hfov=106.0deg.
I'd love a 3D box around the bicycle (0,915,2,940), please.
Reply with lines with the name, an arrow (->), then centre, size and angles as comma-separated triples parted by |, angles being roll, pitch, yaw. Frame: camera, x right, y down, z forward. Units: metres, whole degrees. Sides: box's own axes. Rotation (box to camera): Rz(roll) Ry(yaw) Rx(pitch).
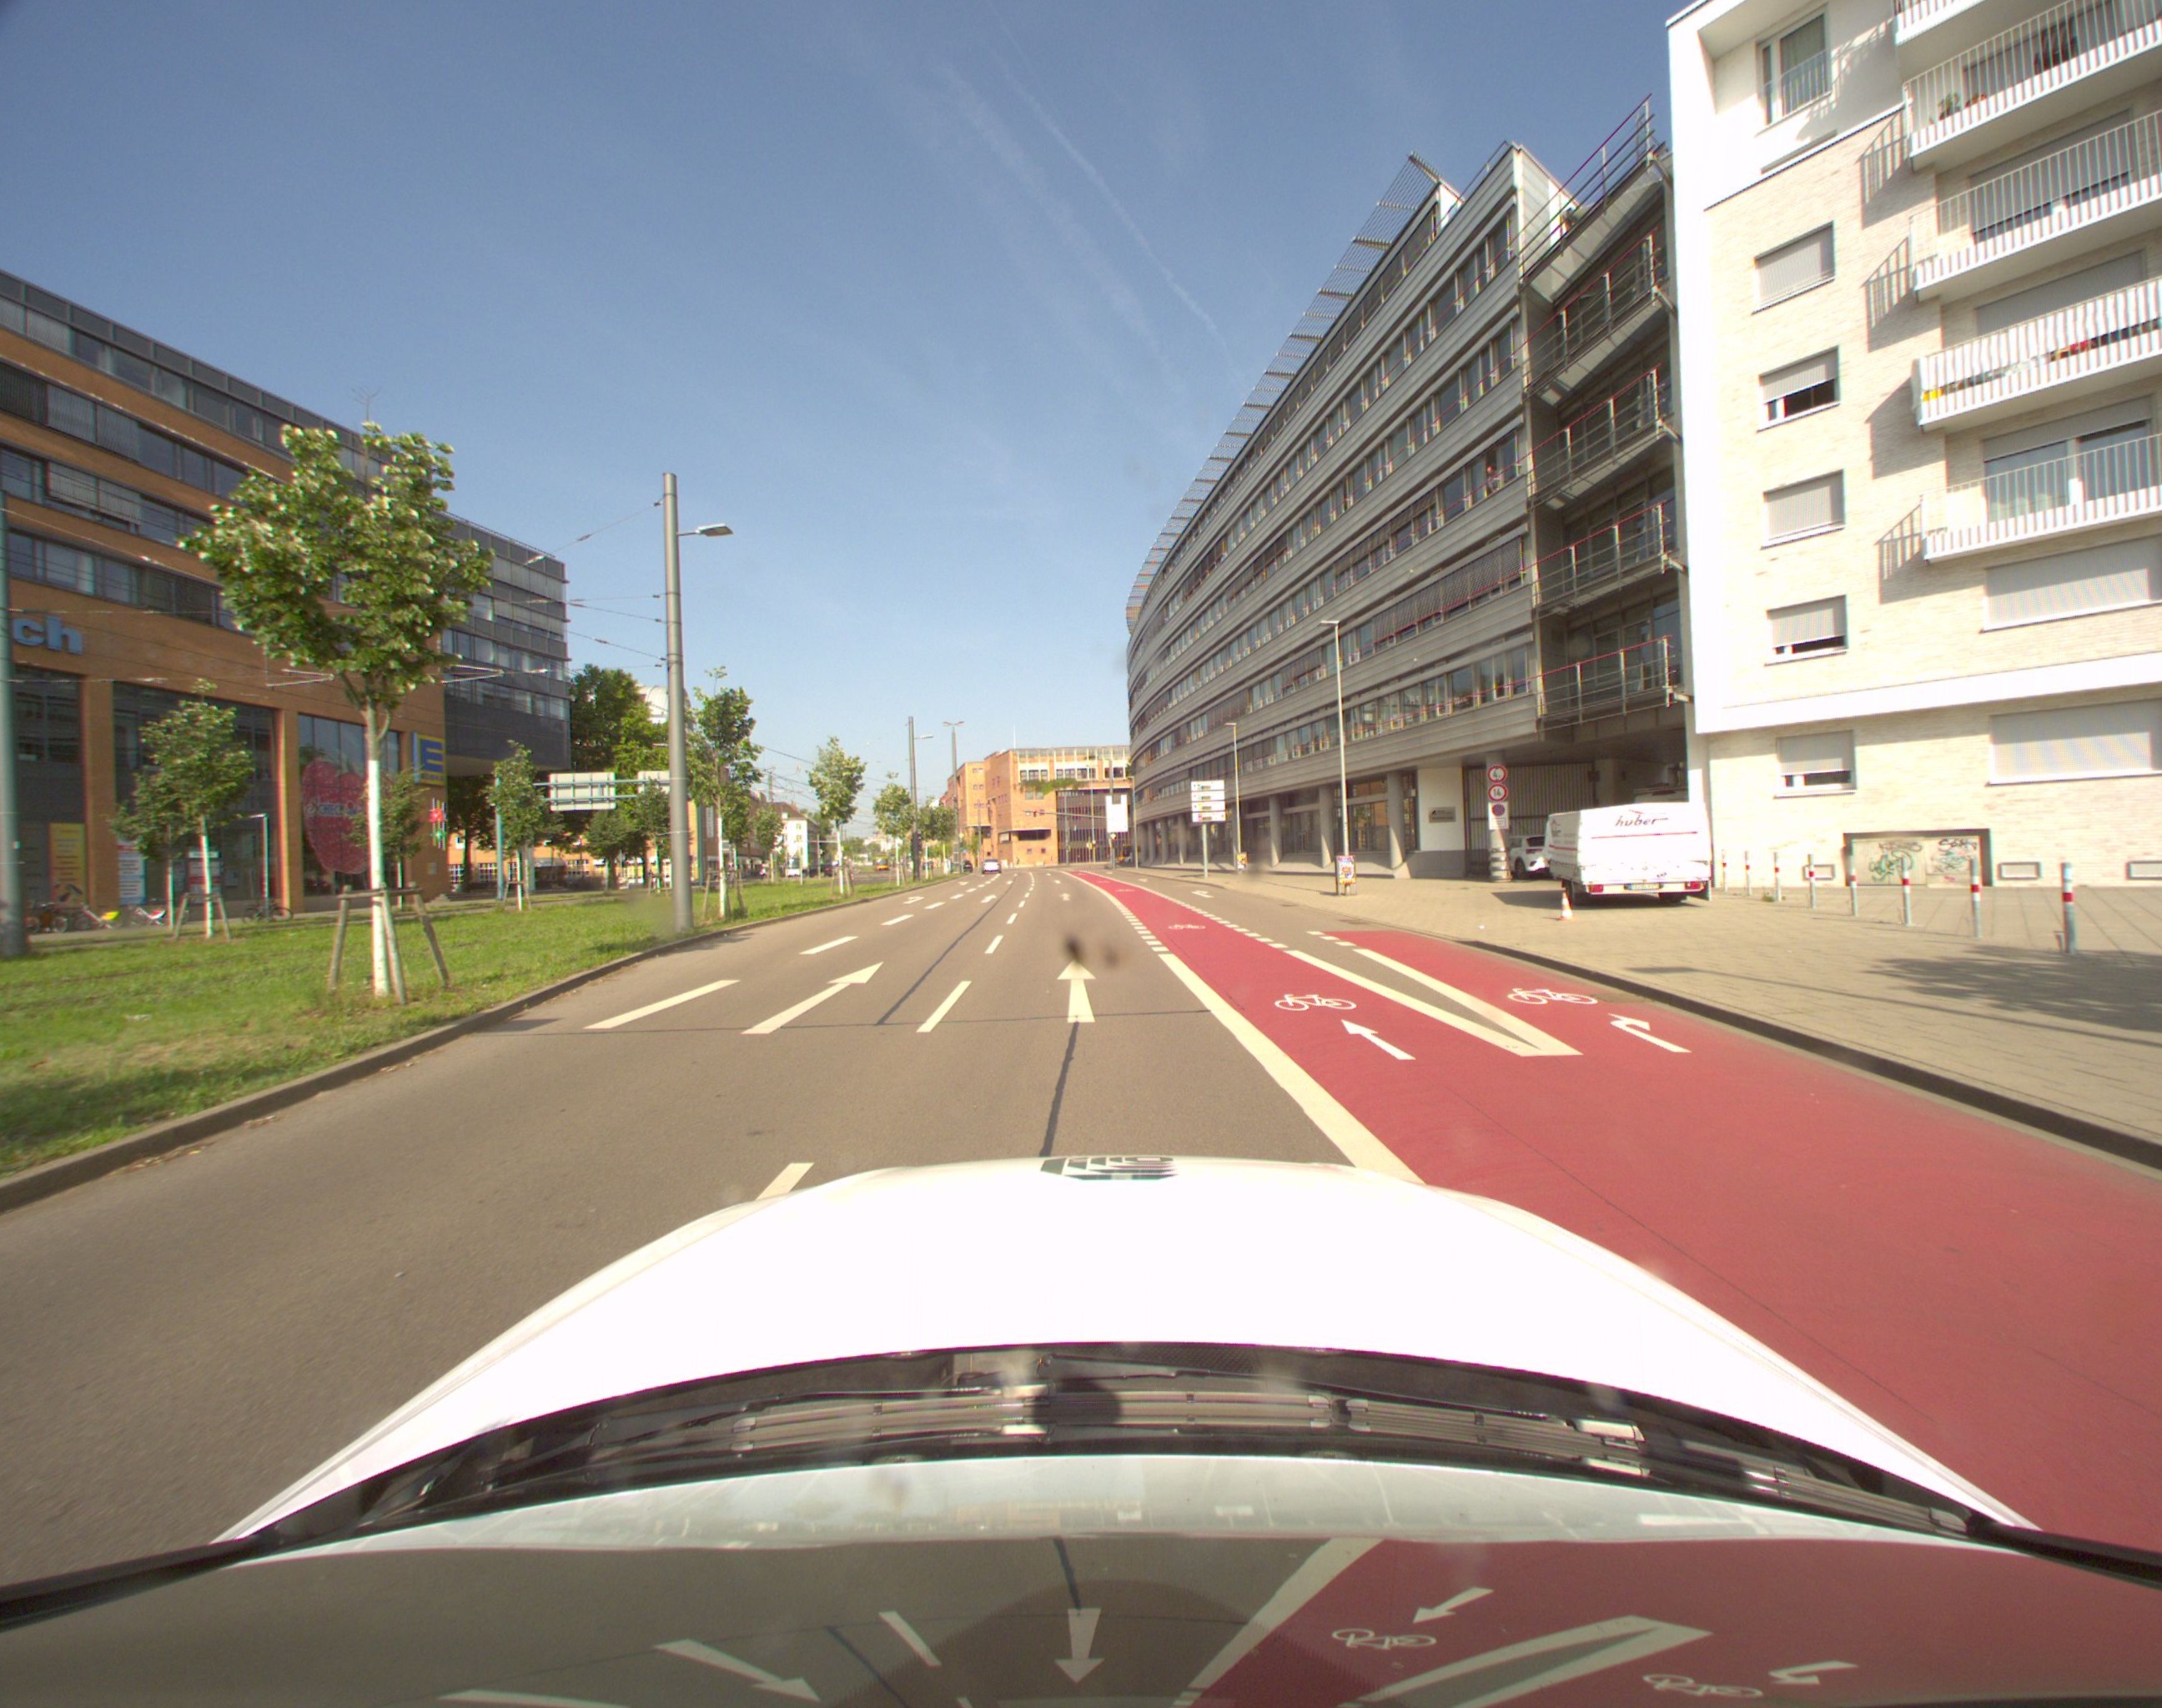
bicycle -> -40.421, 2.714, 29.525 | 2.037, 0.921, 0.574 | -2, 0, 6

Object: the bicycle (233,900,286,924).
bicycle -> -34.788, 2.462, 34.504 | 1.666, 0.907, 0.711 | -2, -1, 8

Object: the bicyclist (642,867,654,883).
bicyclist -> -47.299, 2.318, 88.926 | 0.955, 1.747, 0.671 | -3, -2, 29

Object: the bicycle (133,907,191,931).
bicycle -> -39.890, 2.816, 35.347 | 2.037, 0.921, 0.574 | -2, 0, 6

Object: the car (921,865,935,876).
car -> -30.824, 3.370, 163.795 | 2.002, 2.014, 3.968 | -2, -2, -23

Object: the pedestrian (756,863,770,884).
pedestrian -> -31.194, 1.920, 79.951 | 1.157, 2.014, 0.772 | -2, -2, -15

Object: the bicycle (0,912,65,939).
bicycle -> -40.334, 2.759, 31.317 | 2.037, 0.921, 0.574 | -2, 0, 6

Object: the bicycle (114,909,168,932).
bicycle -> -39.936, 2.827, 34.611 | 2.037, 0.921, 0.381 | -2, 0, 6

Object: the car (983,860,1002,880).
car -> -8.345, 1.548, 77.148 | 1.703, 1.755, 3.881 | -2, -2, -6

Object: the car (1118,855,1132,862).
car -> 6.591, 0.660, 122.690 | 1.948, 0.958, 1.091 | 0, -3, -6

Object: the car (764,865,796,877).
car -> -41.830, 2.356, 113.163 | 3.600, 1.624, 1.868 | -2, 0, 0

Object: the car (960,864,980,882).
car -> -13.163, 2.241, 96.632 | 1.989, 2.014, 4.236 | -2, -2, -4

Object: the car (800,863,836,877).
car -> -34.596, 2.144, 107.209 | 3.963, 1.678, 2.005 | -3, -2, 9

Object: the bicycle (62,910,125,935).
bicycle -> -39.983, 2.776, 32.965 | 2.037, 0.921, 0.574 | -2, 0, 6

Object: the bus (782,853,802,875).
bus -> -52.955, 1.839, 149.632 | 2.753, 3.921, 12.146 | -2, 0, -17

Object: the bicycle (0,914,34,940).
bicycle -> -40.387, 2.742, 30.416 | 2.037, 0.921, 0.574 | -2, 0, 6

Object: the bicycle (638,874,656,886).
bicycle -> -47.343, 2.868, 88.912 | 2.258, 1.206, 0.553 | -3, -2, 28

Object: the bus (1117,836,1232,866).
bus -> 14.537, -0.442, 126.952 | 17.581, 3.811, 2.860 | -2, -2, -5

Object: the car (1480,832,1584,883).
car -> 15.652, 0.080, 28.510 | 1.735, 1.589, 4.008 | -2, 1, 6

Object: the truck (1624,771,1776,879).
truck -> 21.051, -1.044, 27.578 | 6.177, 3.097, 1.979 | -6, 0, -34

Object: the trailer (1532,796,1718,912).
trailer -> 11.971, -0.008, 18.471 | 2.368, 2.151, 5.982 | -2, 0, 23

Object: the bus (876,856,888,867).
bus -> -42.019, 1.640, 172.177 | 2.000, 2.014, 3.973 | -2, -2, -19
